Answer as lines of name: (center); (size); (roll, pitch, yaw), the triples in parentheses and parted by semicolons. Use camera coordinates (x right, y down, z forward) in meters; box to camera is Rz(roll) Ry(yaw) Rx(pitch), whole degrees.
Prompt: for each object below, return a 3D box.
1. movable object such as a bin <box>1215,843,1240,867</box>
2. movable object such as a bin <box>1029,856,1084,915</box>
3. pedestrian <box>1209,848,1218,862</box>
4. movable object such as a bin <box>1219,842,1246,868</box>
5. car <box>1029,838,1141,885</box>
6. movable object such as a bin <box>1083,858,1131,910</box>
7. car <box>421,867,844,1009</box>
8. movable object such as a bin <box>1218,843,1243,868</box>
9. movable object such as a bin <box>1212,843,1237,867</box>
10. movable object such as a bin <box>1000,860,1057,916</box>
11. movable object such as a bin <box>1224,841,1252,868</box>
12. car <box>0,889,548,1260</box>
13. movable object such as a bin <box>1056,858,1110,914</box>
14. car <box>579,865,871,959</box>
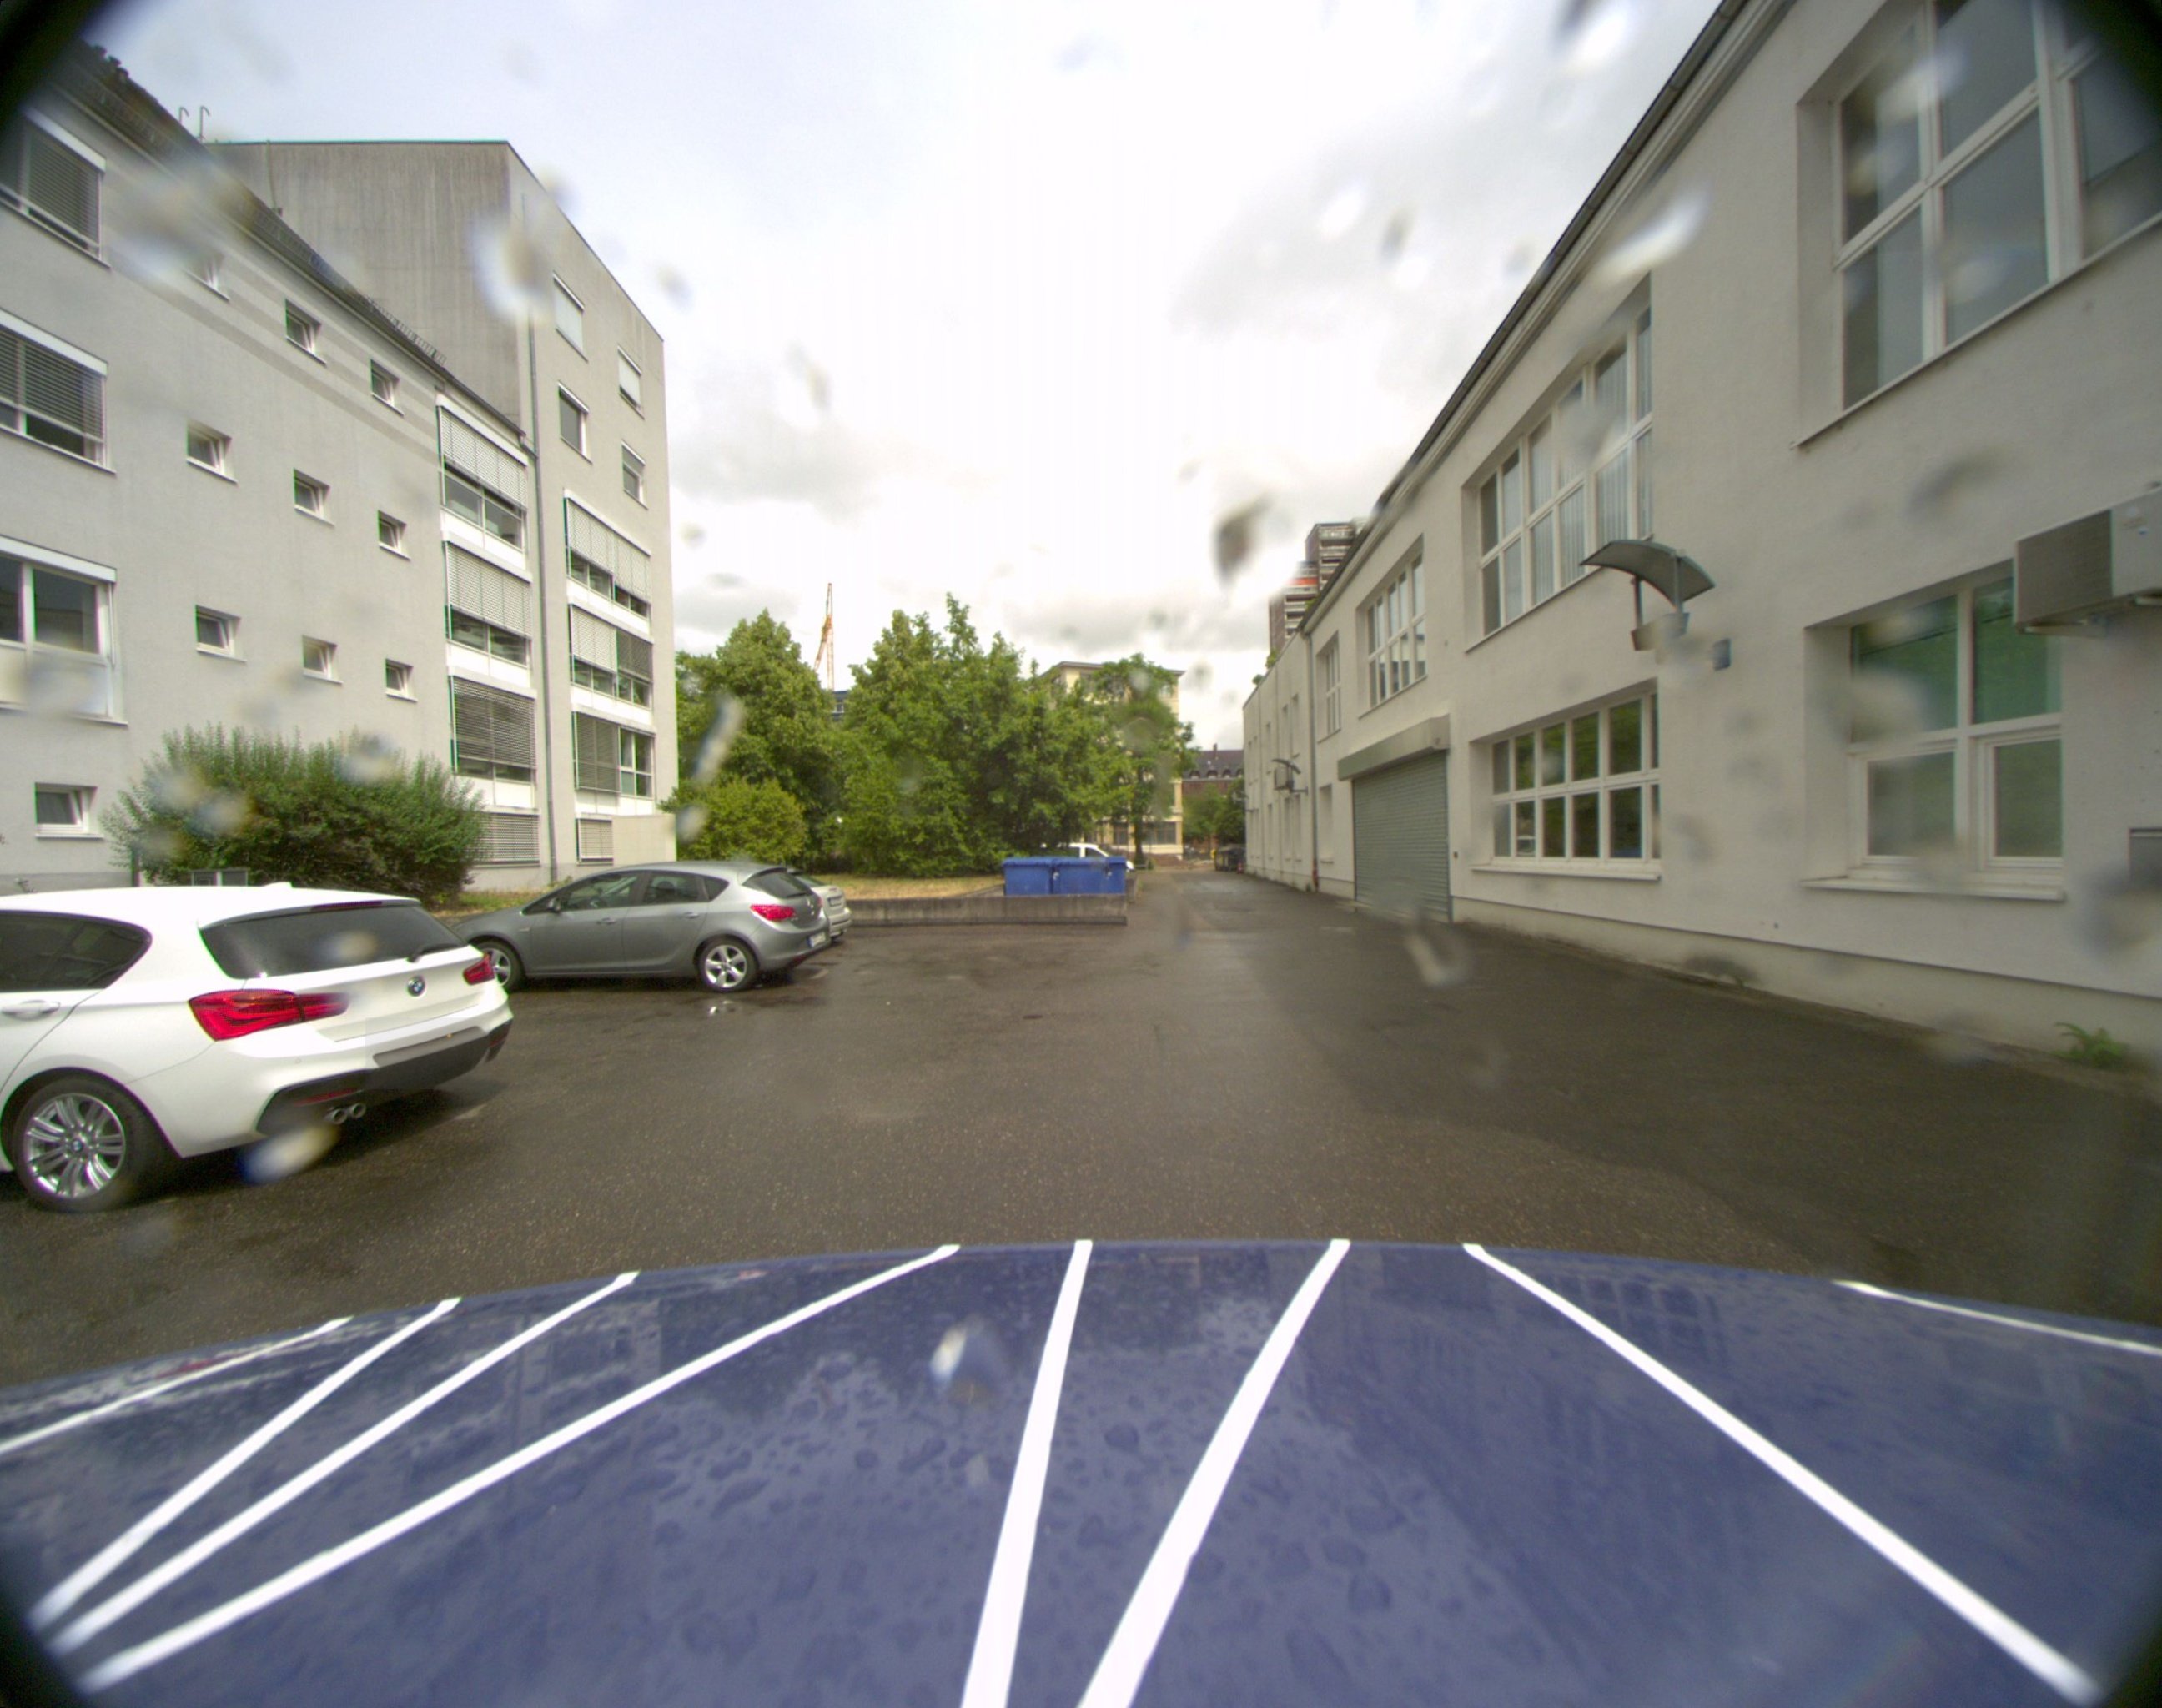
movable object such as a bin: (9.452, 0.093, 48.982); (1.362, 1.462, 1.465); (-3, 0, 4)
movable object such as a bin: (-0.624, 0.815, 20.221); (1.278, 1.474, 1.102); (-3, 0, 4)
pedestrian: (13.918, 0.082, 79.681); (0.650, 1.500, 0.623); (-2, 1, -36)
movable object such as a bin: (9.191, 0.057, 46.096); (1.362, 1.462, 1.366); (-3, 0, 4)
car: (0.236, 0.335, 35.656); (4.946, 2.002, 2.001); (-2, 1, 8)
movable object such as a bin: (0.703, 0.783, 20.400); (1.177, 1.309, 1.056); (-3, 0, 4)
car: (-5.201, 0.948, 9.196); (4.090, 1.450, 1.668); (-1, 2, 1)
movable object such as a bin: (9.341, 0.094, 47.529); (1.362, 1.462, 1.352); (-3, 0, 4)
movable object such as a bin: (9.557, 0.074, 50.534); (1.412, 1.462, 1.561); (-3, 0, 4)
movable object such as a bin: (-1.271, 0.818, 18.701); (1.232, 1.310, 1.056); (-1, 0, 4)
movable object such as a bin: (9.179, 0.045, 44.415); (1.362, 1.462, 1.366); (-3, 0, 4)
car: (-5.596, 0.985, 4.114); (4.108, 1.447, 1.833); (-1, 1, 1)
movable object such as a bin: (0.062, 0.761, 18.616); (1.232, 1.310, 1.056); (-1, 0, 4)
car: (-5.752, 0.899, 12.596); (3.995, 1.346, 1.791); (0, 1, 4)
